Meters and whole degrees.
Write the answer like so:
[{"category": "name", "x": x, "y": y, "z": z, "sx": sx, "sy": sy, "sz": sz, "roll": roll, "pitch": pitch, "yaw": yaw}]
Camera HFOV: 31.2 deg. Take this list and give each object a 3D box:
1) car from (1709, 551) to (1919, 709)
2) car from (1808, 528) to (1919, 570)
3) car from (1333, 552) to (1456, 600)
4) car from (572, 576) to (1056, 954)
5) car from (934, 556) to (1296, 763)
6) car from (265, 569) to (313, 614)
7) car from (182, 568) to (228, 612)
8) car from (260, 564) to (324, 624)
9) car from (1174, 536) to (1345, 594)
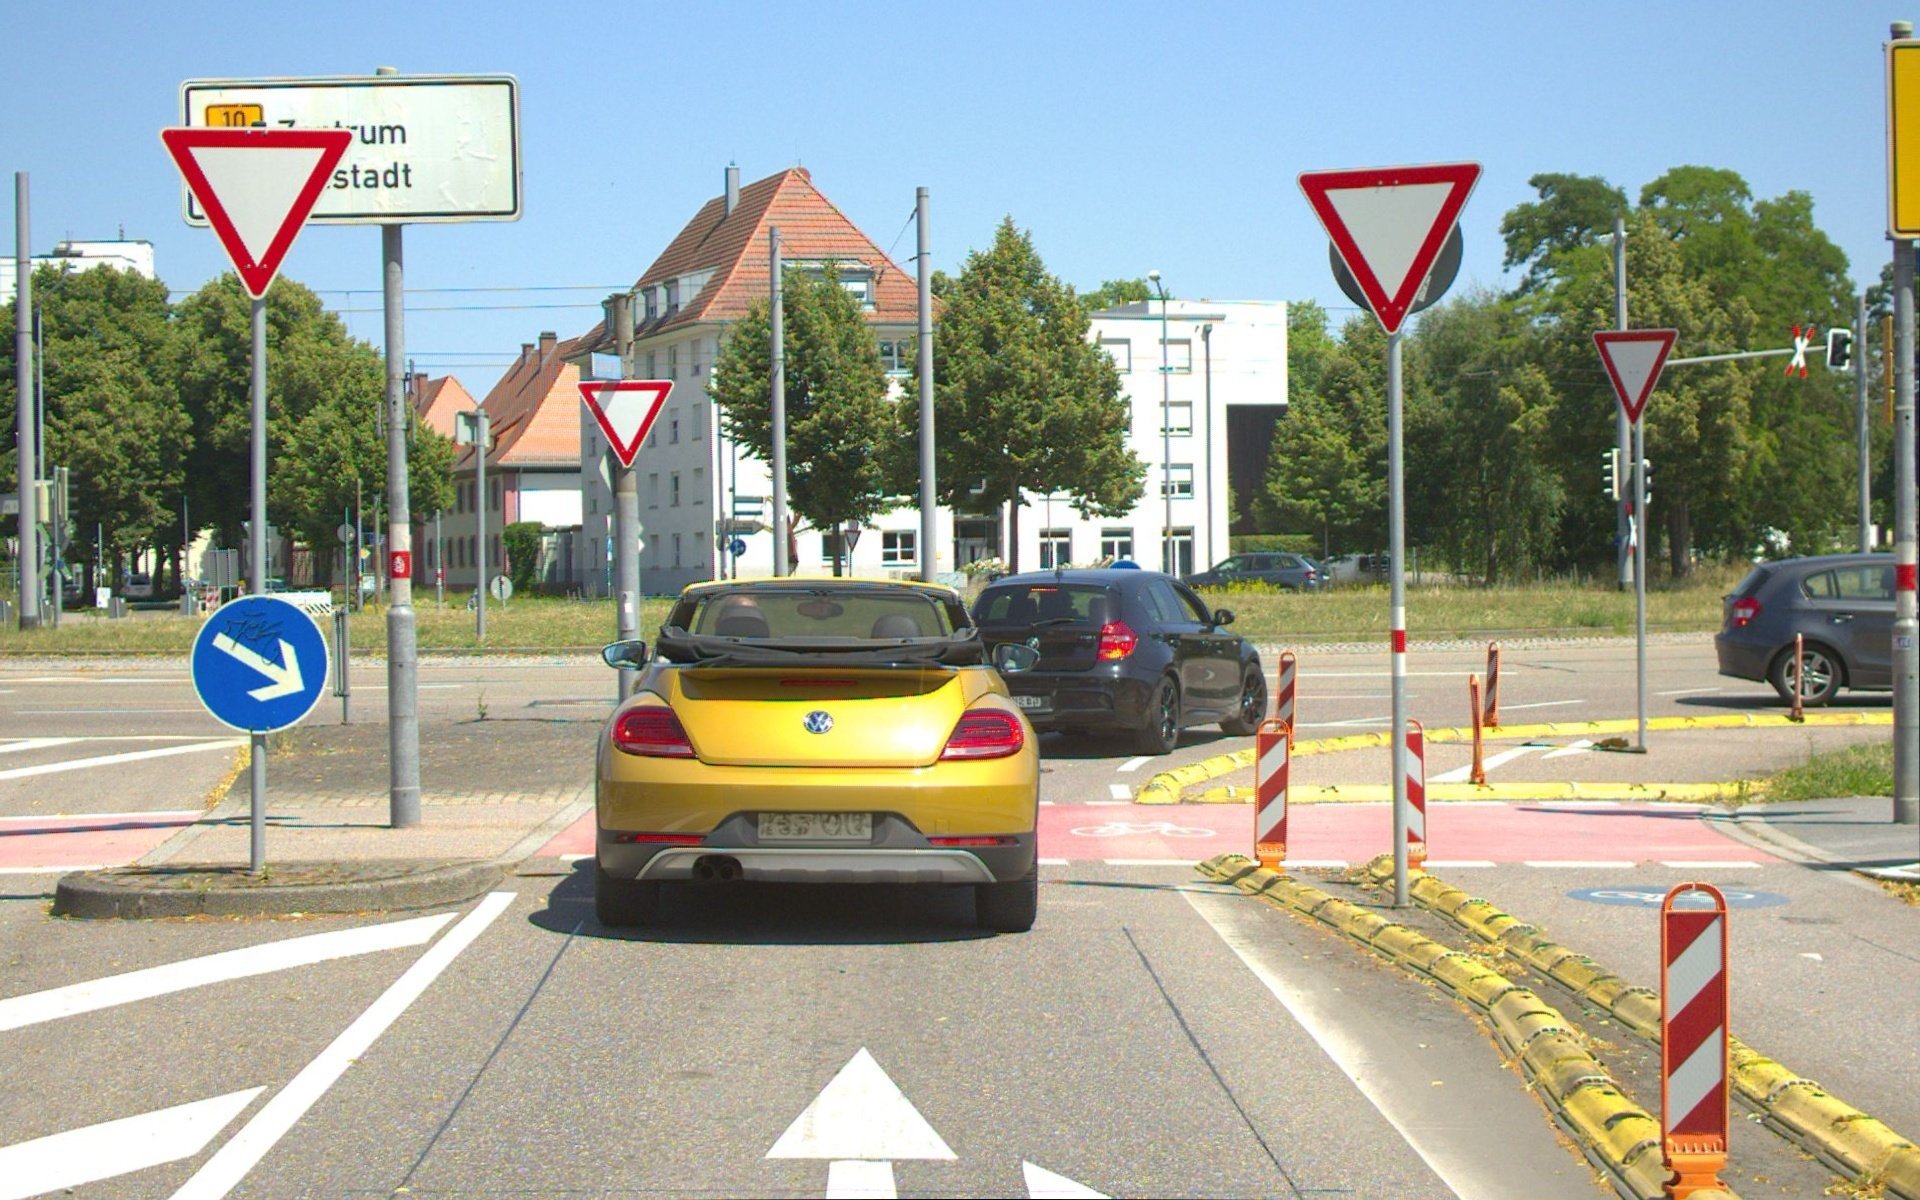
[{"category": "car", "x": 9.141, "y": 0.256, "z": 32.235, "sx": 4.069, "sy": 1.398, "sz": 1.752, "roll": -1, "pitch": 1, "yaw": 11}, {"category": "car", "x": 35.002, "y": -1.970, "z": 132.648, "sx": 3.995, "sy": 1.568, "sz": 1.996, "roll": 1, "pitch": 0, "yaw": 35}, {"category": "car", "x": 15.814, "y": -0.858, "z": 125.317, "sx": 3.986, "sy": 1.678, "sz": 2.001, "roll": 1, "pitch": 0, "yaw": -13}, {"category": "car", "x": -0.577, "y": 0.612, "z": 14.855, "sx": 1.825, "sy": 1.398, "sz": 3.662, "roll": 0, "pitch": 1, "yaw": -1}, {"category": "car", "x": 1.310, "y": 0.405, "z": 27.215, "sx": 1.799, "sy": 1.435, "sz": 3.996, "roll": 0, "pitch": 2, "yaw": 19}, {"category": "car", "x": -30.773, "y": -0.407, "z": 157.603, "sx": 1.993, "sy": 2.007, "sz": 4.001, "roll": 1, "pitch": 0, "yaw": -13}, {"category": "car", "x": -35.083, "y": -0.459, "z": 159.701, "sx": 1.993, "sy": 2.007, "sz": 4.001, "roll": 1, "pitch": 0, "yaw": -13}, {"category": "car", "x": -23.229, "y": -0.217, "z": 119.509, "sx": 1.993, "sy": 2.007, "sz": 4.001, "roll": 1, "pitch": 0, "yaw": -13}, {"category": "car", "x": 7.829, "y": -0.909, "z": 89.856, "sx": 3.993, "sy": 1.459, "sz": 1.997, "roll": 1, "pitch": 0, "yaw": 26}]
